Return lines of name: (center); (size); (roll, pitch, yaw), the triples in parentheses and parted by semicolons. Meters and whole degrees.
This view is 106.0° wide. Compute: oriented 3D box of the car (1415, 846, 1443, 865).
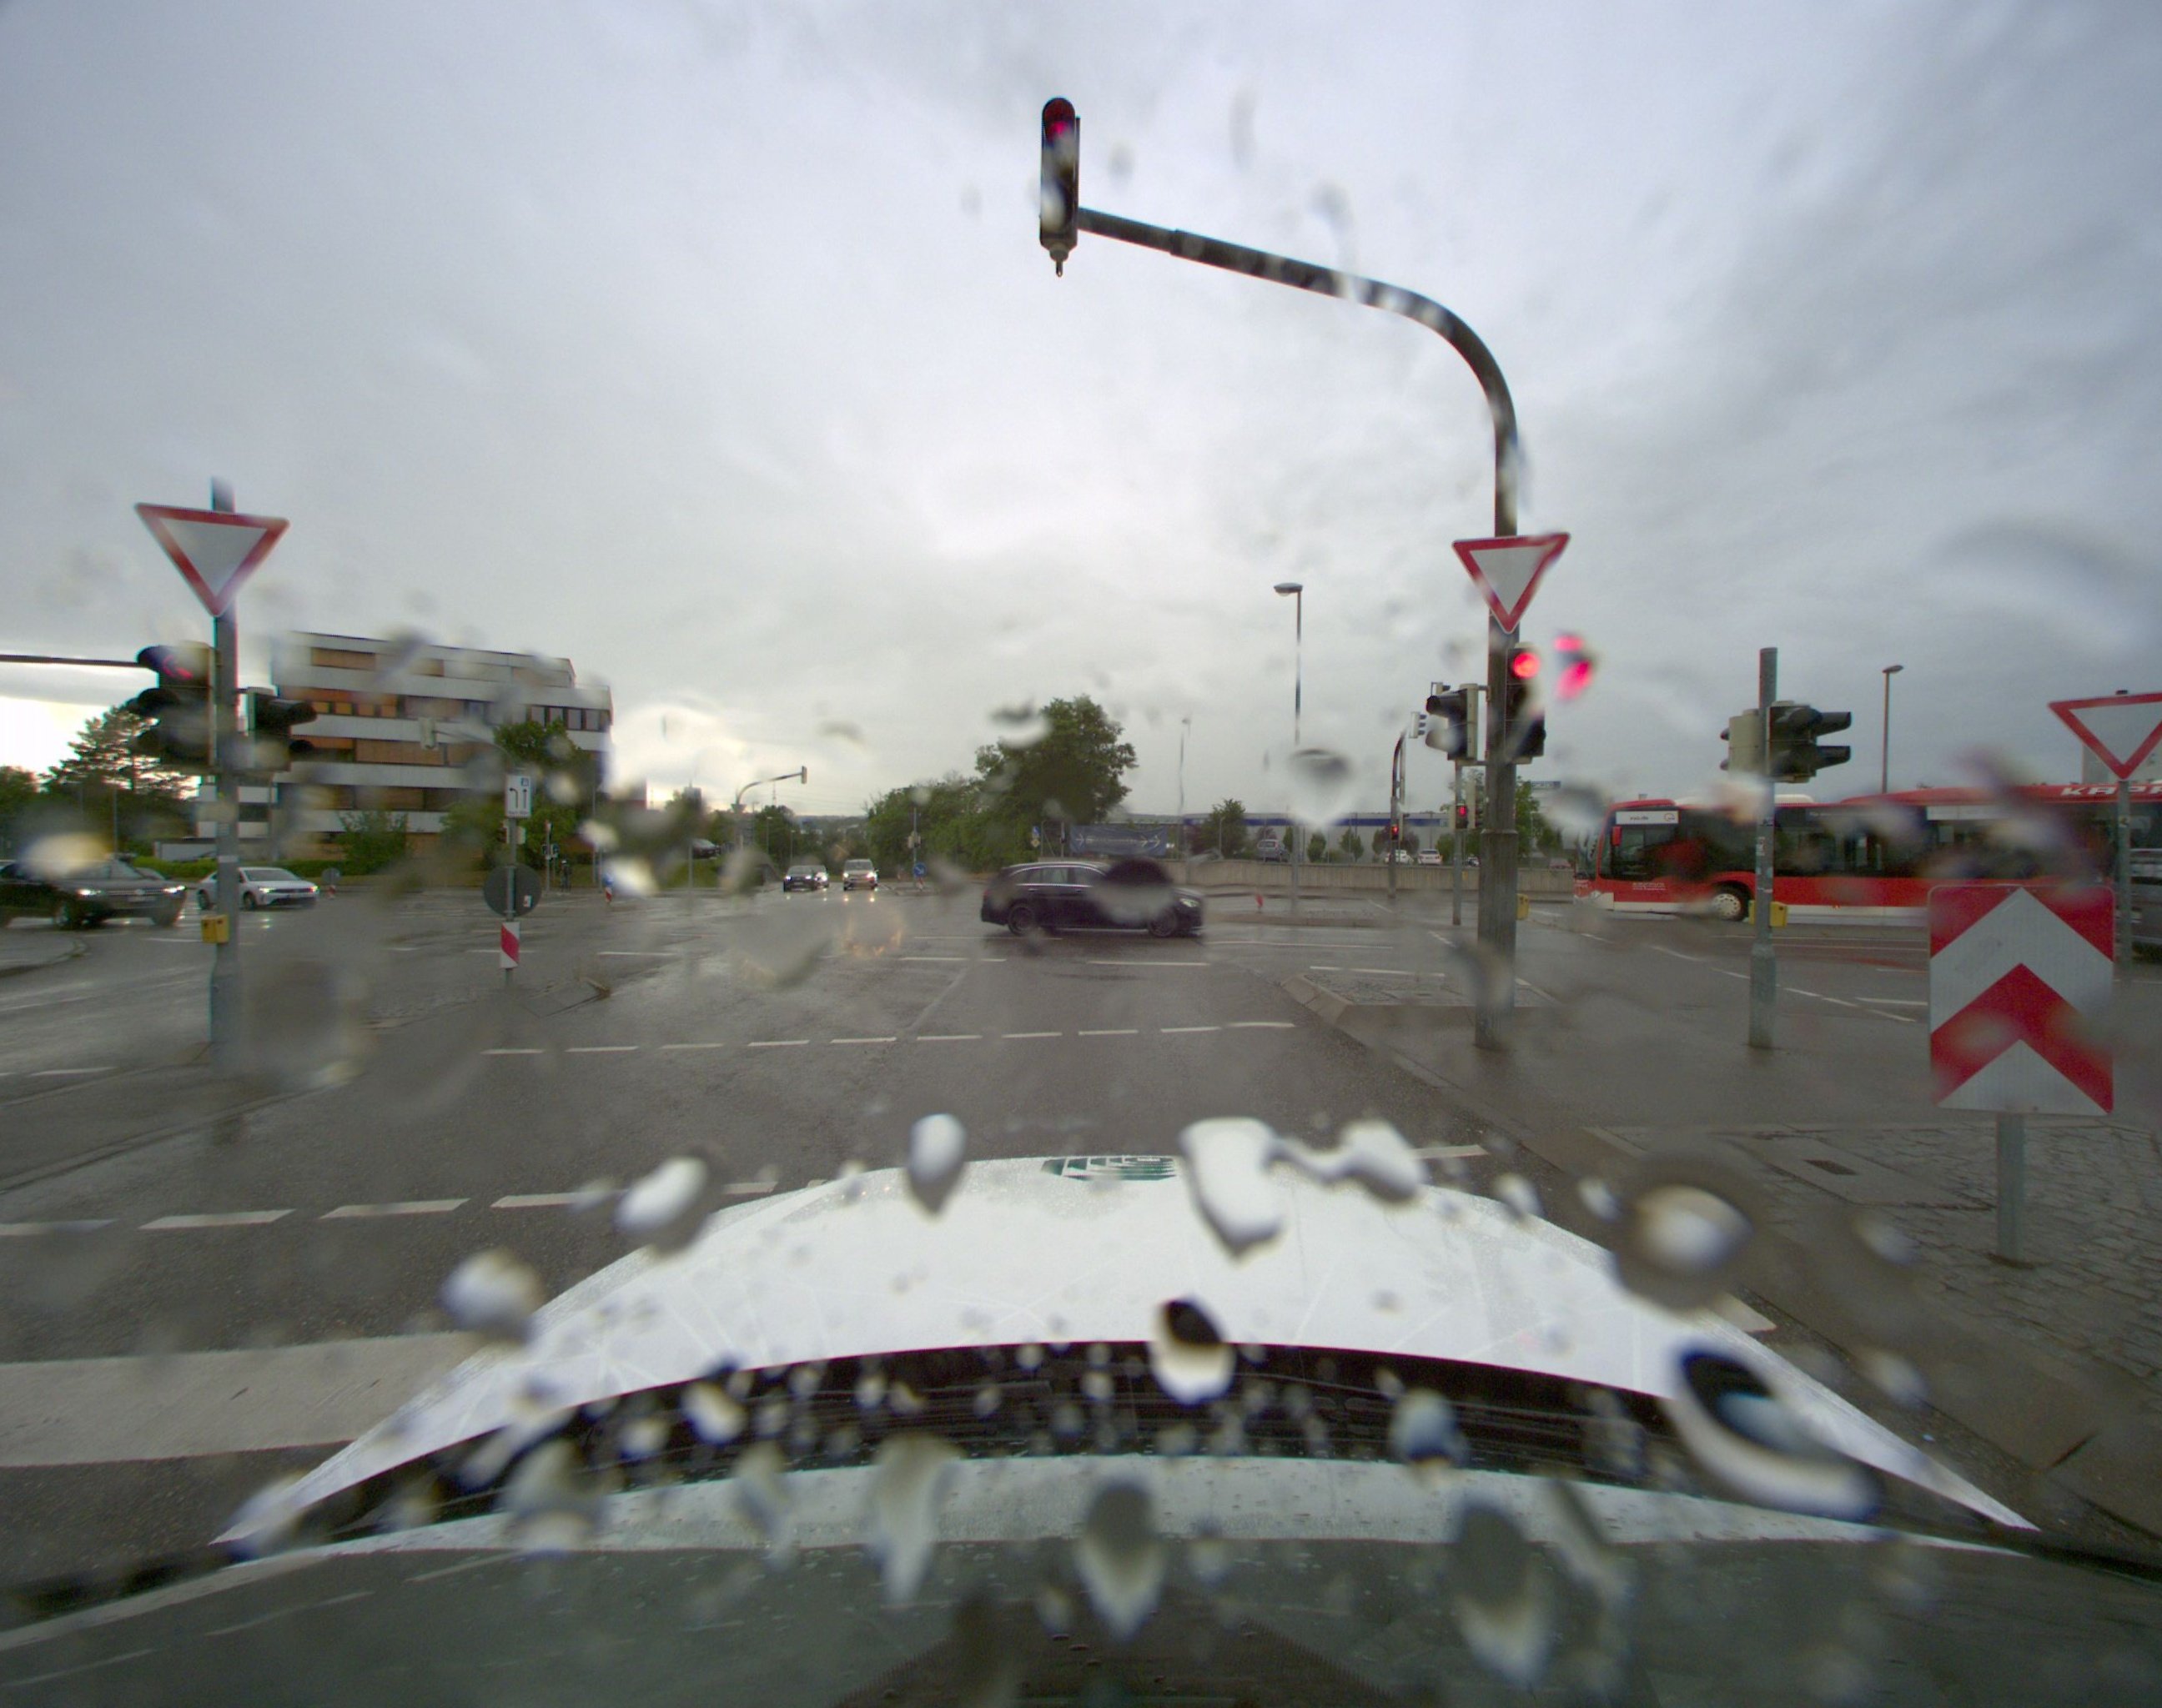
car: (28.689, 0.123, 67.178); (1.976, 1.478, 4.021); (0, 0, 21)

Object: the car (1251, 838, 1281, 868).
car: (13.097, -0.063, 57.556); (1.979, 2.013, 4.015); (0, 0, 13)

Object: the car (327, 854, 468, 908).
car: (-24.980, 0.939, 29.786); (4.108, 1.840, 2.009); (0, 0, 17)

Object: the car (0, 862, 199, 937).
car: (-25.394, 1.088, 20.826); (4.561, 1.702, 2.009); (0, 0, 16)

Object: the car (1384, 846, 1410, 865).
car: (26.383, 0.113, 67.857); (1.976, 1.478, 4.021); (0, 0, 22)

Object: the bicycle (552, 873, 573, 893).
bicycle: (-28.527, 1.567, 44.789); (1.758, 1.052, 0.613); (0, 0, 44)

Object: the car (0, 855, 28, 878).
car: (-77.476, 0.886, 58.476); (3.948, 1.596, 1.969); (0, 0, 33)

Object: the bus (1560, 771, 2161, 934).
bus: (18.666, -0.117, 19.343); (12.177, 3.321, 3.089); (1, 0, 19)

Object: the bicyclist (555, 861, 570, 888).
bicyclist: (-28.473, 1.114, 44.734); (0.538, 1.446, 0.607); (0, 0, 43)

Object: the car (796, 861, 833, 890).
car: (-18.261, 1.427, 56.002); (1.995, 1.895, 3.983); (0, 0, -13)

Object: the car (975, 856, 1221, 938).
car: (0.390, 0.795, 16.603); (4.623, 1.476, 2.009); (0, 0, 17)

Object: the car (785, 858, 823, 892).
car: (-16.577, 1.238, 48.867); (1.998, 1.895, 3.978); (0, 0, -16)

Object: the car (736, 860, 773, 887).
car: (-24.025, 1.386, 60.041); (1.997, 1.895, 3.979); (0, 0, -15)

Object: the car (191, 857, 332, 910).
car: (-28.468, 0.970, 28.314); (3.953, 1.684, 2.010); (0, 0, 21)

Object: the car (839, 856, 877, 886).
car: (-13.130, 0.973, 48.154); (1.995, 1.618, 3.983); (0, 0, -13)

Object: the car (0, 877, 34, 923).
car: (-37.628, 1.545, 27.549); (4.100, 1.416, 1.939); (0, 0, 27)

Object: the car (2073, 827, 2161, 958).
car: (19.051, 0.568, 12.352); (4.732, 2.013, 2.010); (0, 0, 19)
